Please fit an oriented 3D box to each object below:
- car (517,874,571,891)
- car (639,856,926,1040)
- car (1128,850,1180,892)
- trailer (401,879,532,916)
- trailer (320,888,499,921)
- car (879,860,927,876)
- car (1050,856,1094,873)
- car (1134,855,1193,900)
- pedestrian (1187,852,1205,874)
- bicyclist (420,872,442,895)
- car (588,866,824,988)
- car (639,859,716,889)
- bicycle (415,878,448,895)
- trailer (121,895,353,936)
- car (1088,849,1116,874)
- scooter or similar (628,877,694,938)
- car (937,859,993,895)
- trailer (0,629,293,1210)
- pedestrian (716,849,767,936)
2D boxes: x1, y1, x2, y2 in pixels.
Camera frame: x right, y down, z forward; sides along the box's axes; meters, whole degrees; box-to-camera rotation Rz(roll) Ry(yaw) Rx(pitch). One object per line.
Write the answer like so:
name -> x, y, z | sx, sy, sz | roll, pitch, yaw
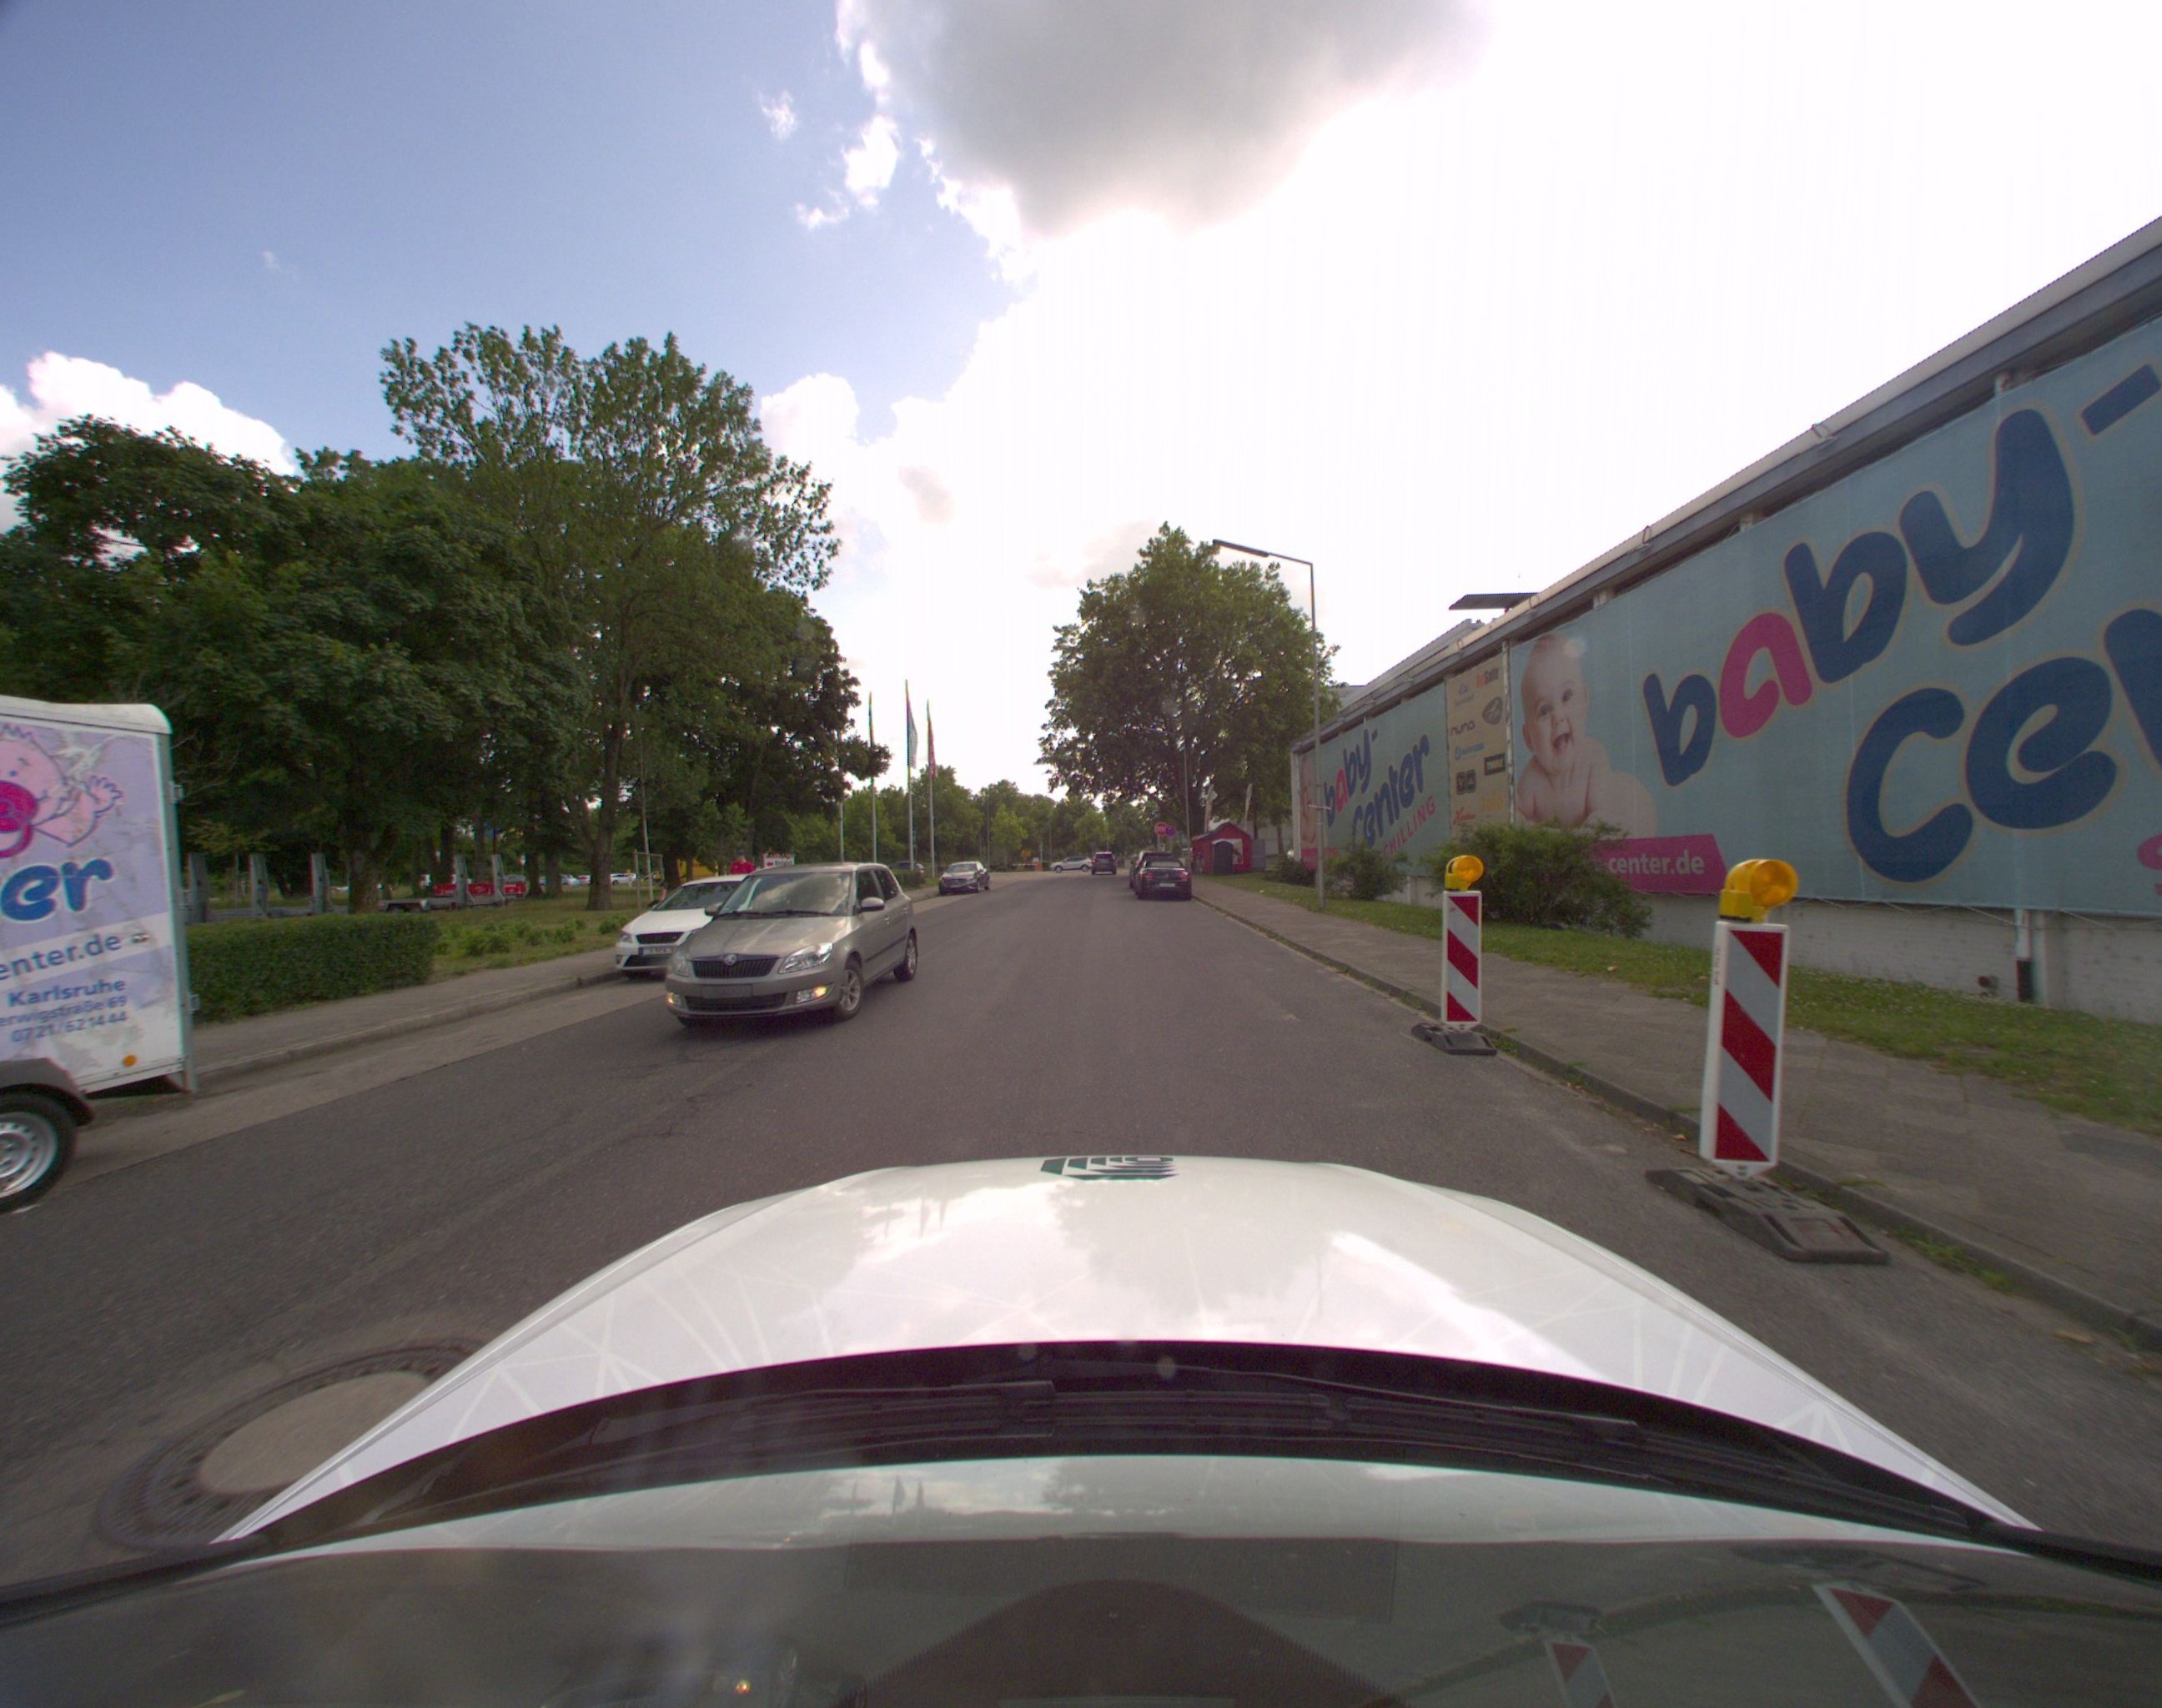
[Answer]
car -> -52.126, 2.763, 79.114 | 4.005, 1.406, 1.797 | -2, 0, -1
car -> -2.893, 0.805, 8.788 | 1.585, 1.465, 3.762 | -3, 0, 1
car -> 3.065, 0.663, 34.844 | 1.802, 1.665, 4.639 | 1, 0, 0
trailer -> -23.355, 1.644, 31.034 | 3.796, 1.190, 1.718 | -2, 0, 7
trailer -> -23.313, 1.744, 28.398 | 4.571, 0.913, 2.191 | -2, 0, 6
car -> -17.326, 1.352, 79.552 | 4.208, 1.406, 1.923 | -2, 0, -1
car -> -0.901, 1.019, 79.949 | 4.208, 1.579, 1.923 | -2, 0, -1
car -> 2.819, 0.765, 28.548 | 1.801, 1.391, 4.591 | 1, 0, 3
pedestrian -> 6.980, 0.533, 49.464 | 1.007, 1.314, 0.967 | -2, -1, 9
bicyclist -> -49.199, 2.249, 61.643 | 1.005, 1.647, 0.733 | -3, 1, -4
car -> -5.826, 1.030, 13.306 | 1.759, 1.479, 4.235 | -4, 0, 0
car -> -39.061, 1.921, 78.921 | 6.356, 2.578, 2.208 | -2, 0, 3
bicycle -> -49.137, 2.484, 61.643 | 1.805, 1.166, 0.729 | -3, 1, -4
trailer -> -23.183, 1.675, 22.511 | 4.221, 0.913, 2.022 | -1, -2, -1
car -> 1.546, 0.573, 62.445 | 1.956, 1.815, 4.274 | -2, 0, 0
scooter or similar -> -8.813, 1.096, 17.131 | 0.514, 1.193, 1.284 | -1, 0, 13
car -> -5.329, 1.020, 37.893 | 1.703, 1.420, 4.334 | -4, 0, 3
trailer -> -6.277, 0.365, 2.903 | 2.132, 2.783, 4.704 | -4, 0, 1
pedestrian -> -8.101, 0.900, 19.459 | 0.806, 2.014, 0.885 | -1, -1, 1
